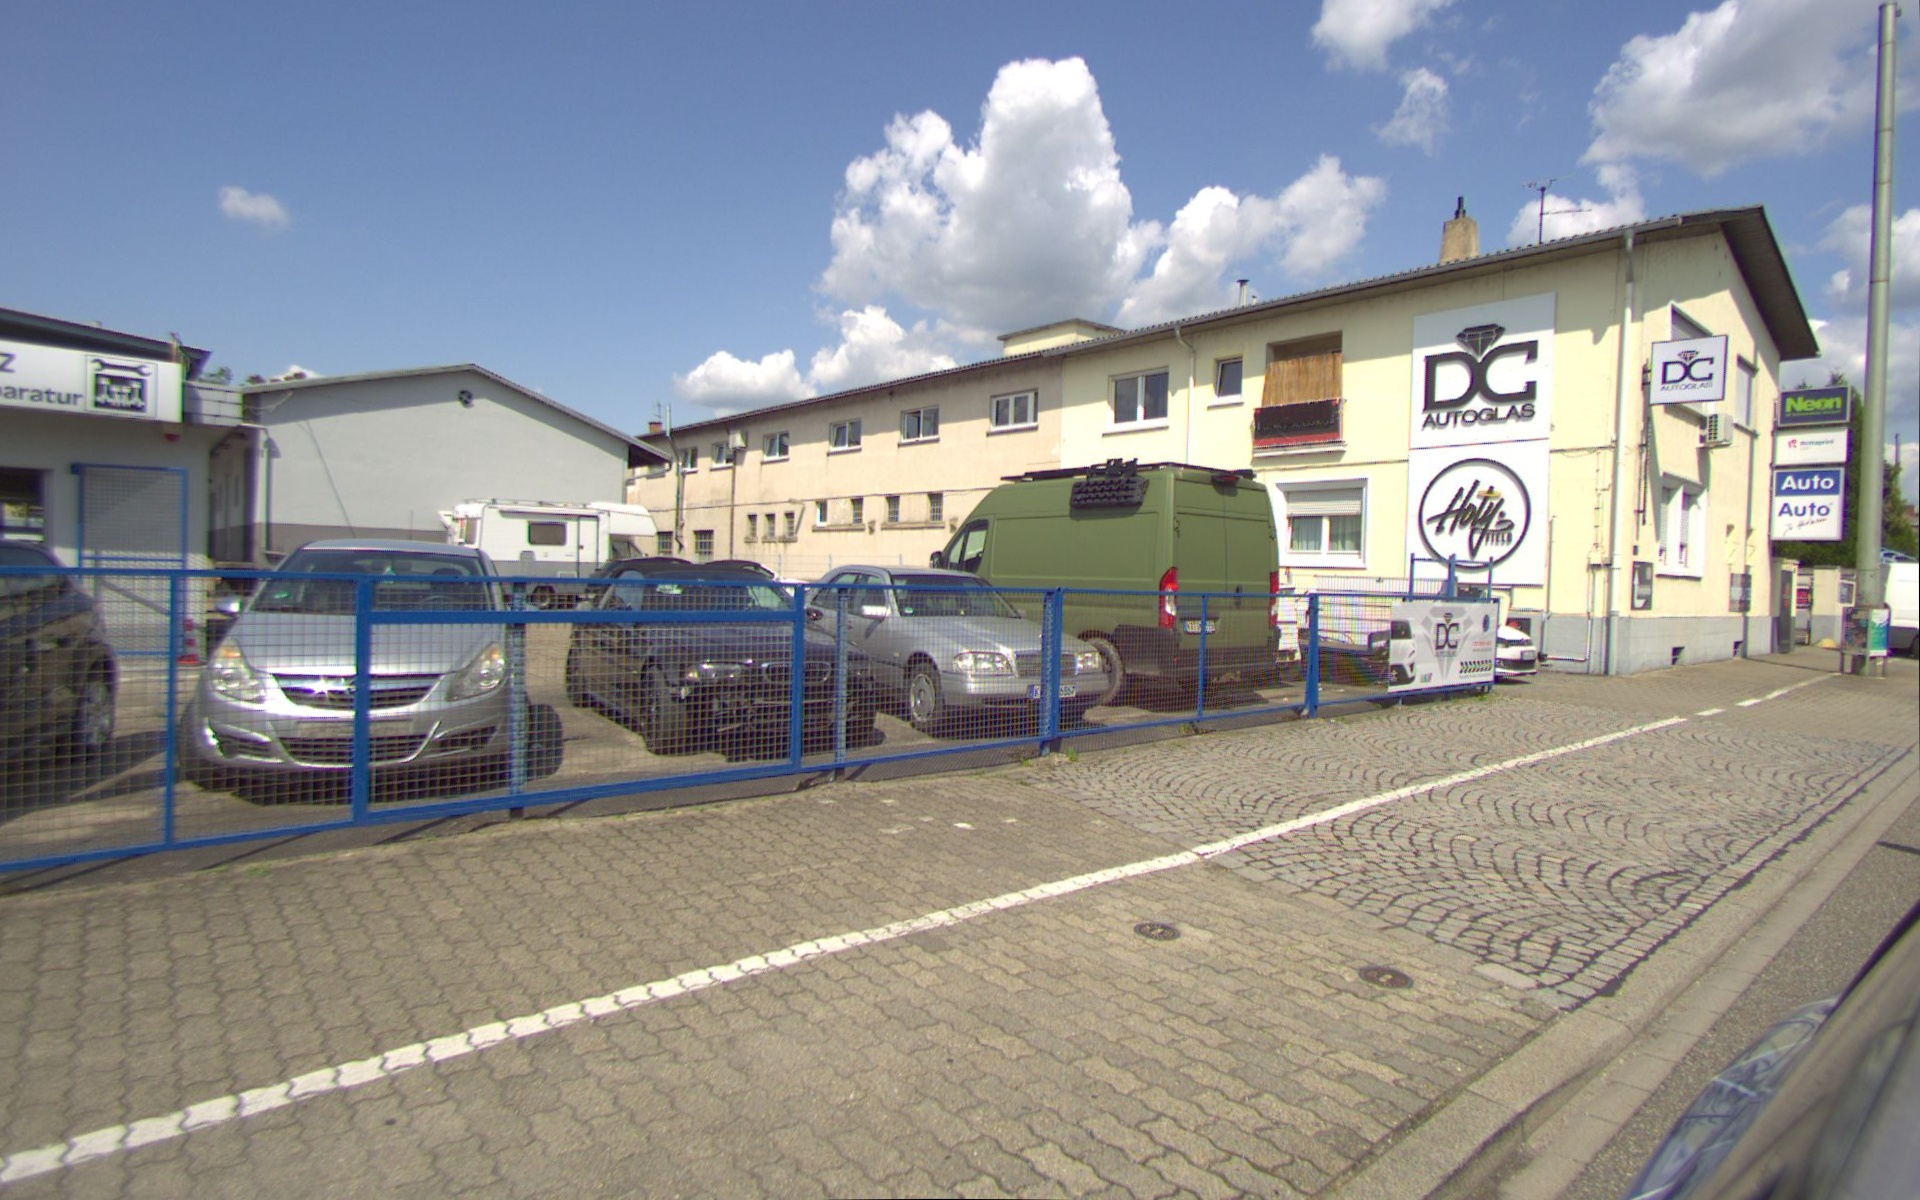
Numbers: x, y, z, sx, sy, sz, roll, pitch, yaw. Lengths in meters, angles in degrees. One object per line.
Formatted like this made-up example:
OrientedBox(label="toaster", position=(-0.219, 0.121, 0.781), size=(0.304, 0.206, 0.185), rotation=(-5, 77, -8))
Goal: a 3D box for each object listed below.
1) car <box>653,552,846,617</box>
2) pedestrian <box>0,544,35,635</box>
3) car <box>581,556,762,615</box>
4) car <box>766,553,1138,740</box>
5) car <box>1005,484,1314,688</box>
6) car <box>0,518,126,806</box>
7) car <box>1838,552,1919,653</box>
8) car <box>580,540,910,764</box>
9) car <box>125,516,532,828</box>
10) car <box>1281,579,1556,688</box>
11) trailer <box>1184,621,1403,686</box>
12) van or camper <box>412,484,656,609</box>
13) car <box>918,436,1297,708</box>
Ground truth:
OrientedBox(label="car", position=(-4.833, -0.346, 23.541), size=(4.112, 1.378, 1.645), rotation=(0, 2, -41))
OrientedBox(label="pedestrian", position=(-13.151, -0.155, 13.876), size=(0.652, 1.224, 0.566), rotation=(1, 1, -39))
OrientedBox(label="car", position=(-7.296, -0.356, 25.805), size=(4.112, 1.378, 1.645), rotation=(0, 2, -41))
OrientedBox(label="car", position=(-0.329, 0.288, 10.196), size=(1.679, 1.470, 4.292), rotation=(1, 2, -33))
OrientedBox(label="car", position=(2.624, -0.245, 14.213), size=(1.557, 2.436, 4.208), rotation=(1, 2, -39))
OrientedBox(label="car", position=(-5.648, 0.304, 4.892), size=(1.606, 1.470, 3.700), rotation=(1, 2, -25))
OrientedBox(label="car", position=(26.184, 0.192, 25.421), size=(5.795, 2.493, 2.070), rotation=(4, 3, 31))
OrientedBox(label="car", position=(-2.118, 0.275, 8.891), size=(1.737, 1.470, 4.128), rotation=(1, 2, -28))
OrientedBox(label="car", position=(-3.889, 0.282, 6.834), size=(1.736, 1.470, 3.778), rotation=(1, 2, -24))
OrientedBox(label="car", position=(7.318, 0.455, 16.452), size=(1.527, 1.481, 3.775), rotation=(1, 2, -39))
OrientedBox(label="trailer", position=(4.759, 0.726, 14.644), size=(1.307, 0.674, 2.730), rotation=(0, 2, -42))
OrientedBox(label="van or camper", position=(-11.293, -1.322, 27.105), size=(5.556, 3.002, 2.272), rotation=(0, 2, -42))
OrientedBox(label="car", position=(1.597, -0.348, 12.249), size=(2.075, 2.675, 4.208), rotation=(1, 2, -39))
